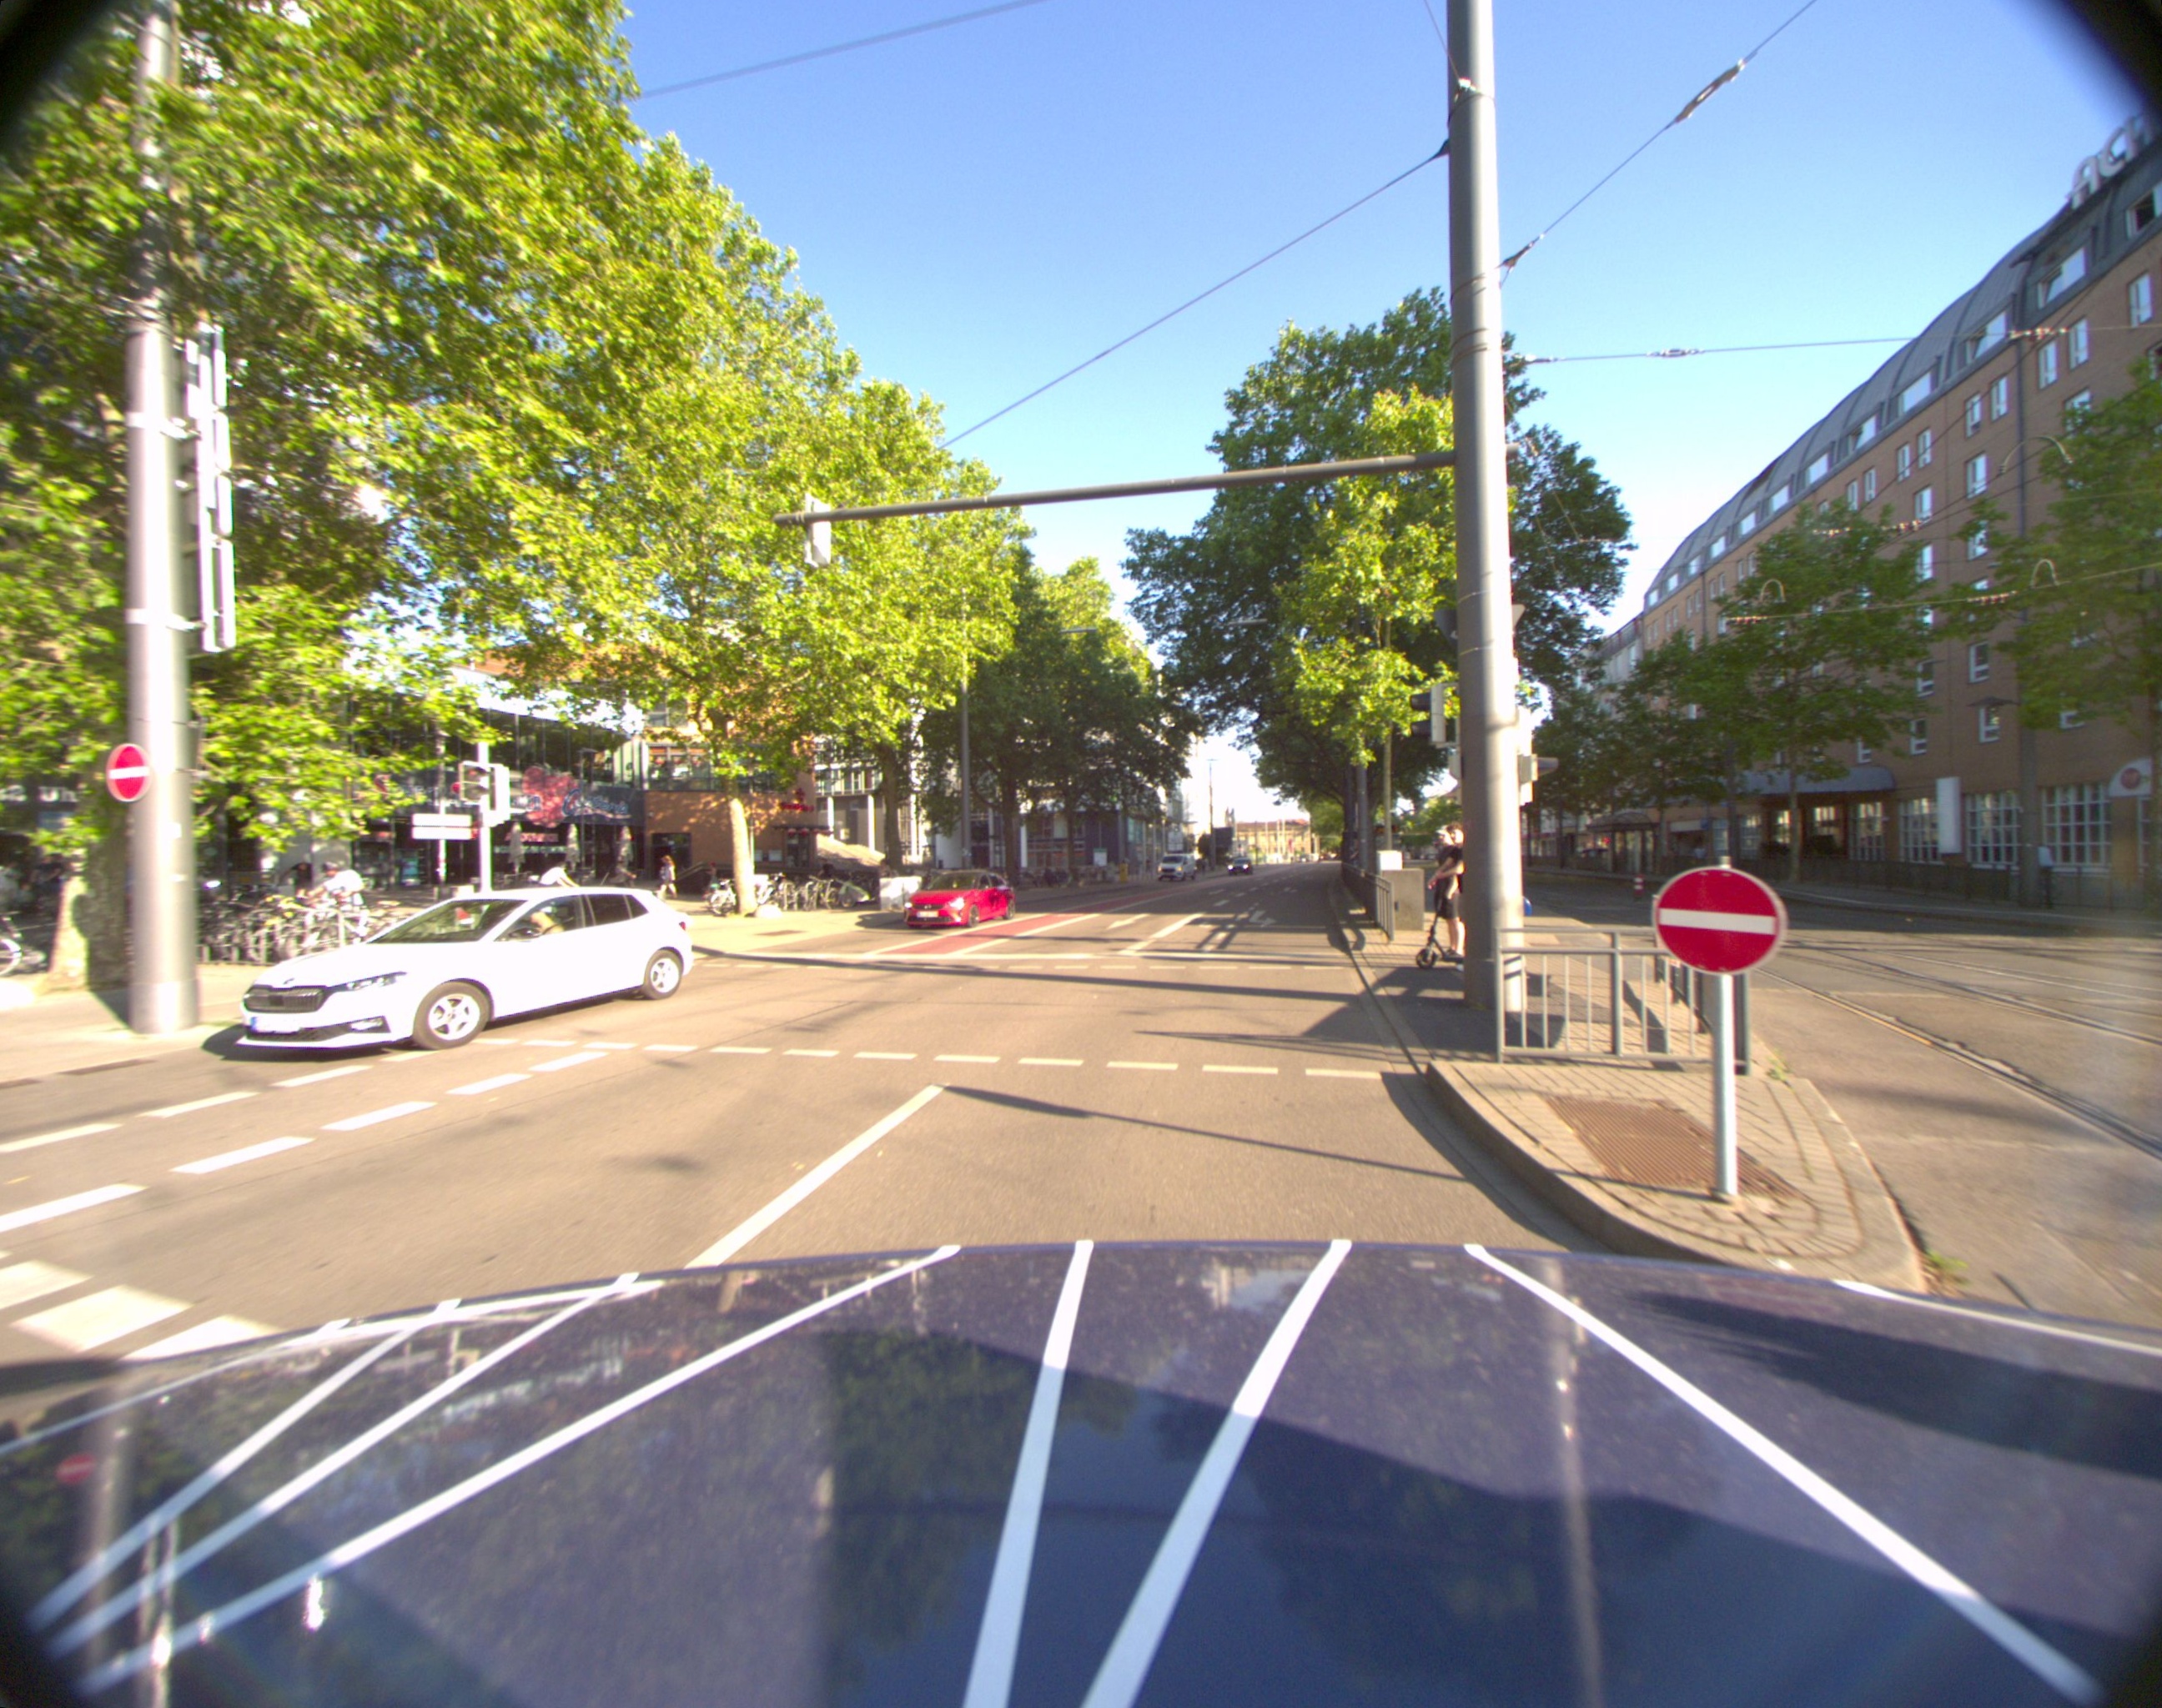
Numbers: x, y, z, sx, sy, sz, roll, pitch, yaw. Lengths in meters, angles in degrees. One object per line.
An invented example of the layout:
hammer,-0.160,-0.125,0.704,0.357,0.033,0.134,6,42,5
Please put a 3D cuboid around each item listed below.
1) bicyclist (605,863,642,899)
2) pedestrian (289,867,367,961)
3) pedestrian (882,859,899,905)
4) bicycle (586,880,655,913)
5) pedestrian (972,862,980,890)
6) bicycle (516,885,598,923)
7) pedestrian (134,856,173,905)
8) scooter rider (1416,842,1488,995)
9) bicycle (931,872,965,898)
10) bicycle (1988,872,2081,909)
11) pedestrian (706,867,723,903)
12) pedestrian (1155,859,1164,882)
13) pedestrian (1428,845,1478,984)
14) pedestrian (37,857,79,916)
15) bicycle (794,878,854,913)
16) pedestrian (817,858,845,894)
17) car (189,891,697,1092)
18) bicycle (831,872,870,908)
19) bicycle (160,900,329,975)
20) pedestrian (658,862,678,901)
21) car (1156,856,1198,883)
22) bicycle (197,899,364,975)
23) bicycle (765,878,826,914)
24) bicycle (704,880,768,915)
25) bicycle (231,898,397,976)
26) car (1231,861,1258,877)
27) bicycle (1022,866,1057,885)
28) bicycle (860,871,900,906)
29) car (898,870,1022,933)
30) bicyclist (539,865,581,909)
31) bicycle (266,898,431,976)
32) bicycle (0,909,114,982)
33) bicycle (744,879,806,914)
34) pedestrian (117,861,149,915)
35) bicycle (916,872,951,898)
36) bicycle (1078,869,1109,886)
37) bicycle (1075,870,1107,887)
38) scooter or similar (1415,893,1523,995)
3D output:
bicyclist,-16.600,0.972,27.579,0.673,1.292,0.961,-1,0,34
pedestrian,-14.658,1.141,14.818,0.894,1.754,0.729,-2,-1,-30
pedestrian,-6.974,1.026,27.847,0.571,1.659,0.543,-1,0,-11
bicycle,-16.635,1.515,27.520,0.694,1.061,2.019,-1,0,34
pedestrian,-5.751,1.202,41.646,0.410,1.546,0.447,-1,0,-11
bicycle,-16.473,1.545,23.912,2.019,1.061,0.694,-1,0,-44
pedestrian,-31.476,0.886,25.787,0.562,1.647,0.592,-1,0,-14
scooter rider,4.599,0.770,9.444,0.761,1.822,0.589,-1,0,24
bicycle,-5.834,1.342,33.493,0.577,1.057,1.950,-1,0,20
bicycle,28.938,1.082,23.106,0.613,1.012,2.156,-1,0,15
pedestrian,-16.952,1.418,35.106,0.545,1.659,0.569,-1,0,-41
pedestrian,6.159,1.269,59.513,0.560,1.788,0.593,-1,0,15
pedestrian,4.958,0.777,10.155,0.568,1.785,0.674,-1,0,24
pedestrian,-30.495,0.953,22.651,0.594,1.745,0.594,-1,0,-40
bicycle,-8.378,1.332,24.883,0.782,1.057,1.950,-1,0,20
pedestrian,-10.709,0.942,32.516,0.765,1.533,0.876,-1,0,14
car,-6.332,1.224,8.243,1.633,1.443,4.004,-2,0,13
bicycle,-8.468,1.275,27.802,0.784,1.182,3.551,-1,0,-26
bicycle,-14.736,1.435,13.471,0.774,1.123,1.846,-1,0,15
pedestrian,-18.063,1.199,33.222,0.542,1.659,0.572,-1,0,34
car,7.343,1.143,57.790,1.968,1.934,4.973,-2,0,21
bicycle,-13.914,1.406,13.290,0.774,1.123,1.846,-1,0,15
bicycle,-9.375,1.367,25.045,0.782,1.057,1.950,-1,0,20
bicycle,-11.460,1.437,25.307,0.782,1.057,1.950,-1,0,20
bicycle,-13.090,1.377,13.054,0.774,1.123,1.846,-1,0,15
car,15.981,1.425,74.080,1.688,1.419,4.007,-2,0,26
bicycle,-2.401,1.233,44.038,1.943,1.057,0.579,-1,0,12
bicycle,-7.605,1.255,28.614,0.784,1.182,3.551,-1,0,-26
car,-3.070,1.178,20.084,1.689,1.419,4.005,-2,0,15
bicyclist,-16.429,1.012,23.964,0.961,1.336,0.673,-1,0,-43
bicycle,-12.265,1.347,12.803,0.774,1.123,1.846,-1,0,15
bicycle,-16.729,1.450,11.998,0.548,1.030,1.702,-1,0,20
bicycle,-10.163,1.395,25.339,0.782,1.057,1.950,-1,0,20
pedestrian,-29.599,1.045,23.719,0.591,1.647,0.596,-1,0,38
bicycle,-6.537,1.369,33.859,0.577,1.057,1.950,-1,0,20
bicycle,0.825,1.538,49.762,1.943,1.057,0.579,-1,0,12
bicycle,0.617,1.520,47.467,1.943,1.057,0.579,-1,0,12
scooter or similar,4.765,1.078,9.380,1.157,1.172,0.456,-1,0,25
